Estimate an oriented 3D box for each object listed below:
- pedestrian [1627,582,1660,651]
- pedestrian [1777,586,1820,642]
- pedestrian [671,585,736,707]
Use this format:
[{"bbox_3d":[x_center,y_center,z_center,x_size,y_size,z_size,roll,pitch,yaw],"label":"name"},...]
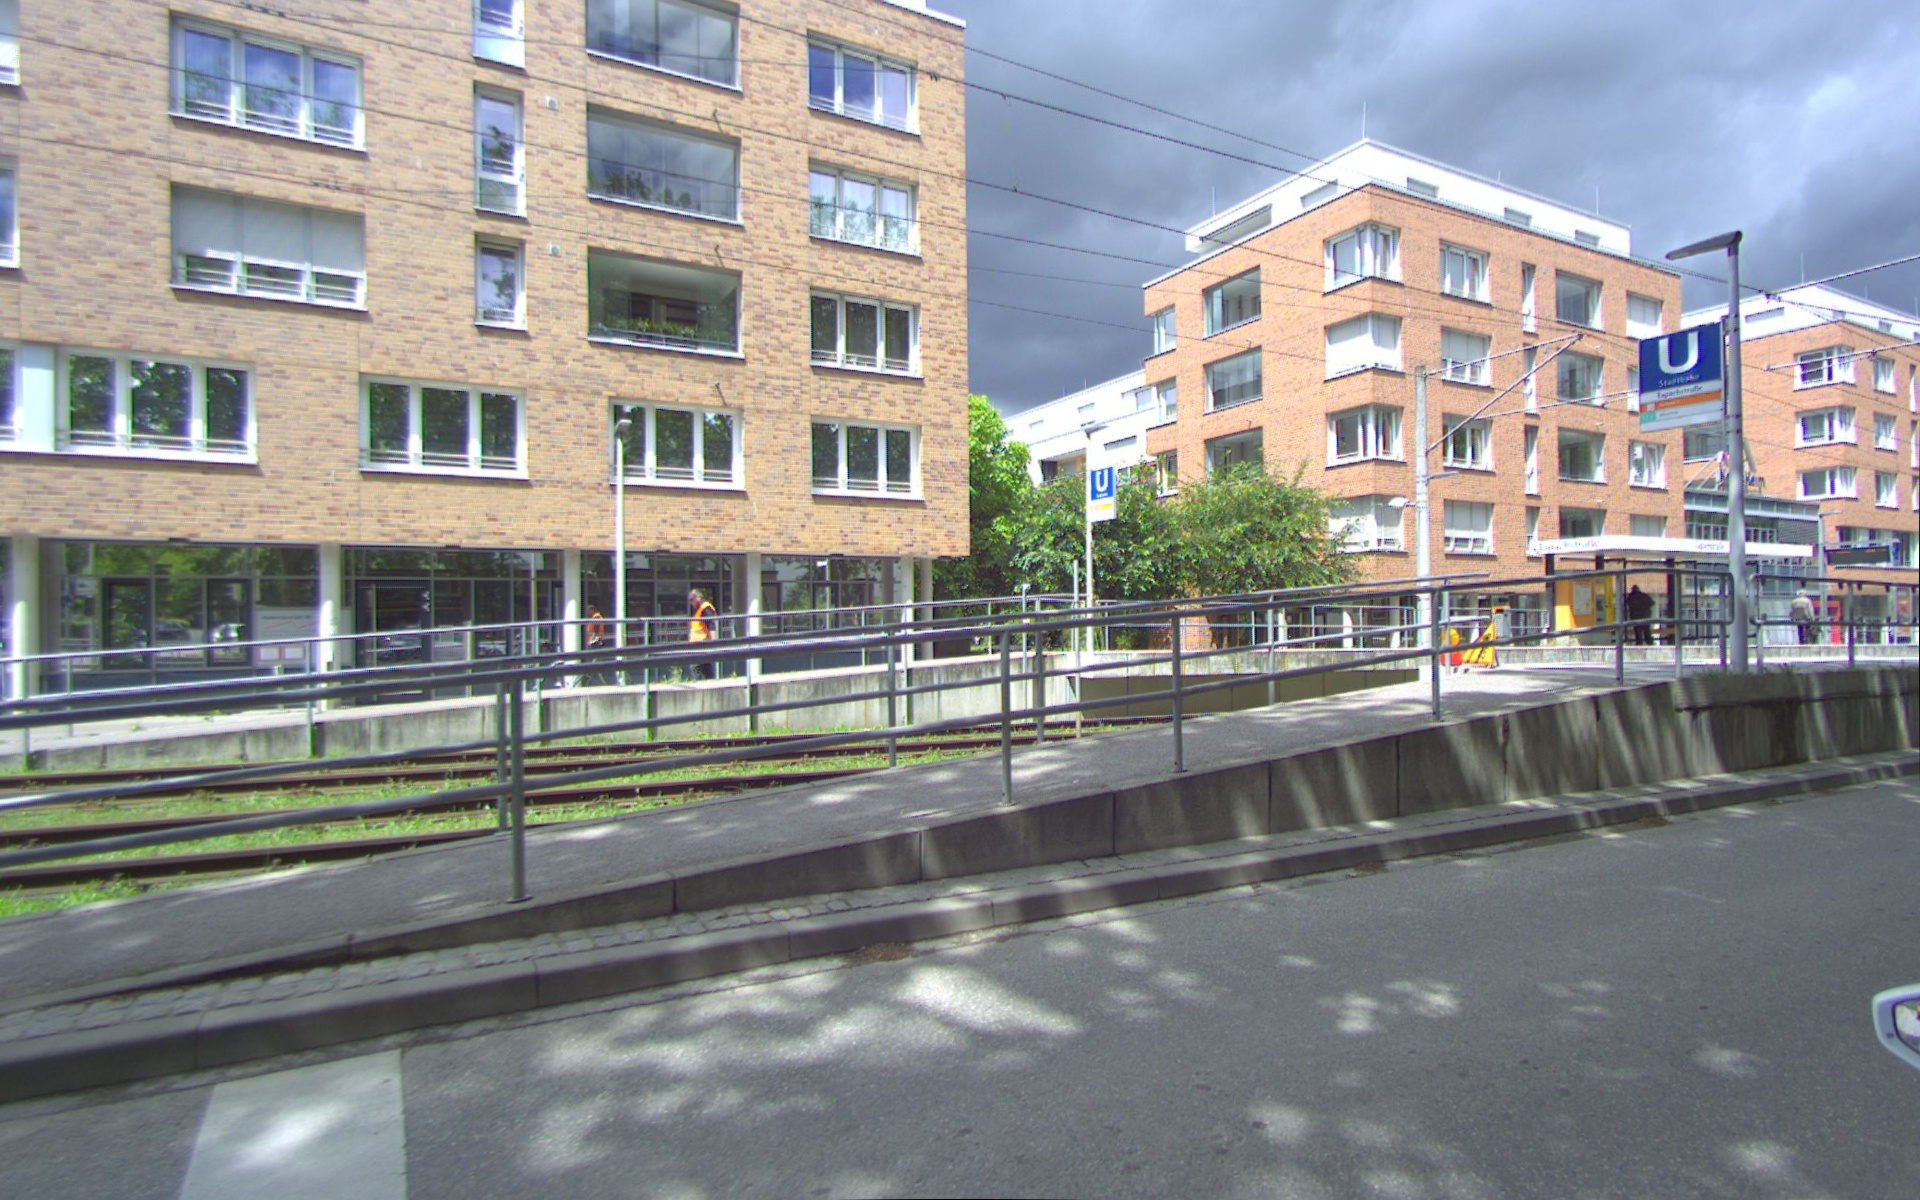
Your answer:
[{"bbox_3d":[17.794,0.431,26.165,0.522,1.787,0.531,1,-2,-32],"label":"pedestrian"},{"bbox_3d":[24.922,0.423,29.853,0.806,1.650,0.748,1,-1,-29],"label":"pedestrian"},{"bbox_3d":[-4.022,0.712,15.722,0.819,1.849,0.740,1,-2,-30],"label":"pedestrian"}]
